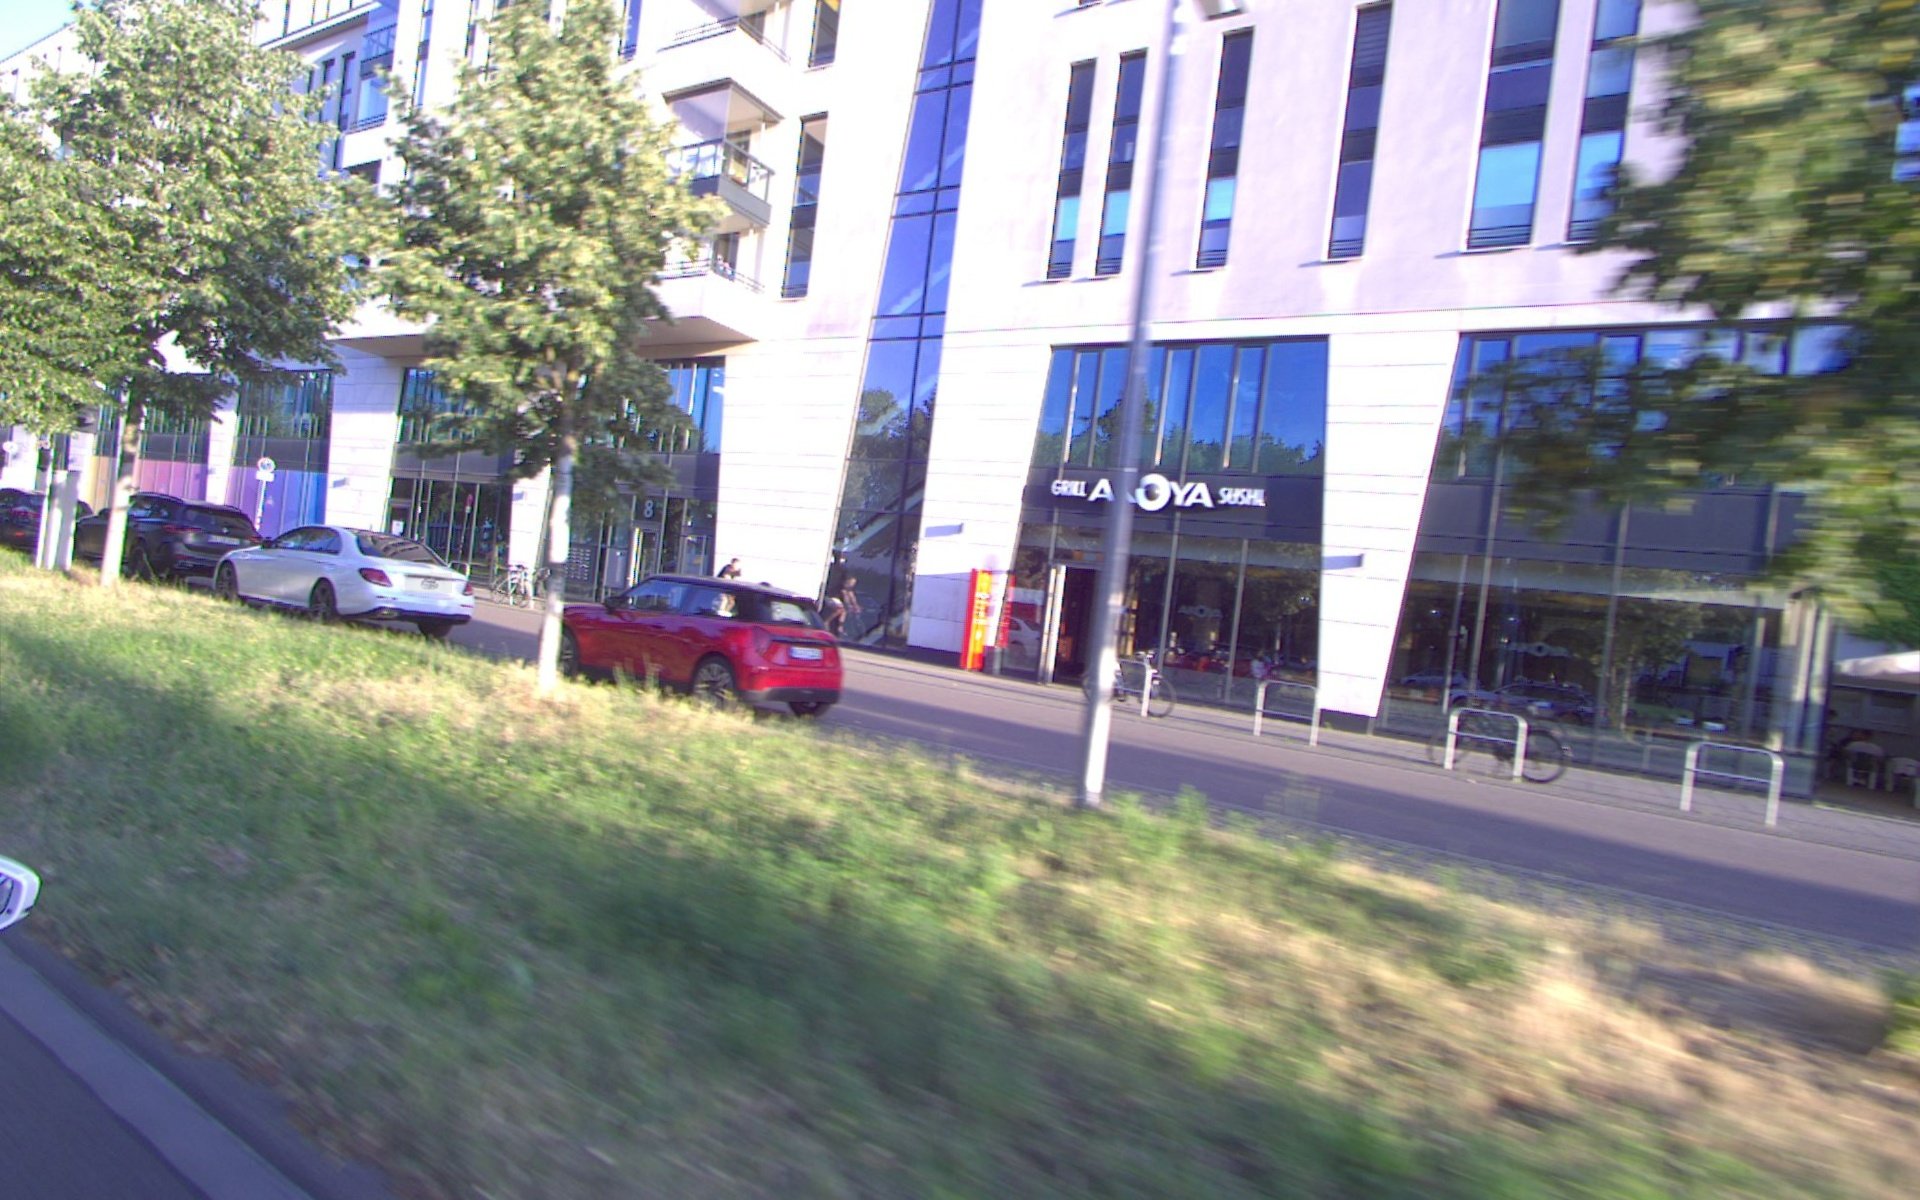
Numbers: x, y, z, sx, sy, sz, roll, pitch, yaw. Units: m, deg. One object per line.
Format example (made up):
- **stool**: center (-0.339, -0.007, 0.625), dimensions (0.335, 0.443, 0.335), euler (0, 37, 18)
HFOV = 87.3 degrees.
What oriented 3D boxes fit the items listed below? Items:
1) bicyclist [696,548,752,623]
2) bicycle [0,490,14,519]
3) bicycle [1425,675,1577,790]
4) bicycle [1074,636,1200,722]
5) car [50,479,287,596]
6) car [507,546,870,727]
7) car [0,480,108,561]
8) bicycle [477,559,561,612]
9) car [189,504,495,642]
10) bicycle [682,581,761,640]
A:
- **bicyclist**: center (-5.413, -0.330, 23.066), dimensions (1.003, 1.588, 0.544), euler (7, 1, 35)
- **bicycle**: center (-42.869, -4.297, 44.882), dimensions (1.751, 1.179, 0.538), euler (7, 3, 32)
- **bicycle**: center (7.256, 1.751, 13.557), dimensions (1.642, 1.246, 0.618), euler (7, 1, 30)
- **bicycle**: center (2.881, 1.268, 16.465), dimensions (1.837, 1.143, 0.547), euler (7, 2, 30)
- **car**: center (-15.542, -1.244, 19.689), dimensions (4.740, 1.642, 1.958), euler (7, -2, 31)
- **car**: center (-3.240, 0.381, 11.838), dimensions (3.893, 1.519, 1.811), euler (7, 0, 31)
- **car**: center (-21.836, -1.947, 23.443), dimensions (4.162, 1.518, 1.727), euler (7, -1, 32)
- **bicycle**: center (-10.813, -0.358, 24.648), dimensions (2.223, 1.046, 0.621), euler (7, 1, 31)
- **car**: center (-9.715, -0.454, 15.714), dimensions (4.926, 1.519, 1.924), euler (7, 0, 31)
- **bicycle**: center (-5.477, 0.234, 23.064), dimensions (1.882, 1.132, 0.543), euler (7, 0, 35)
